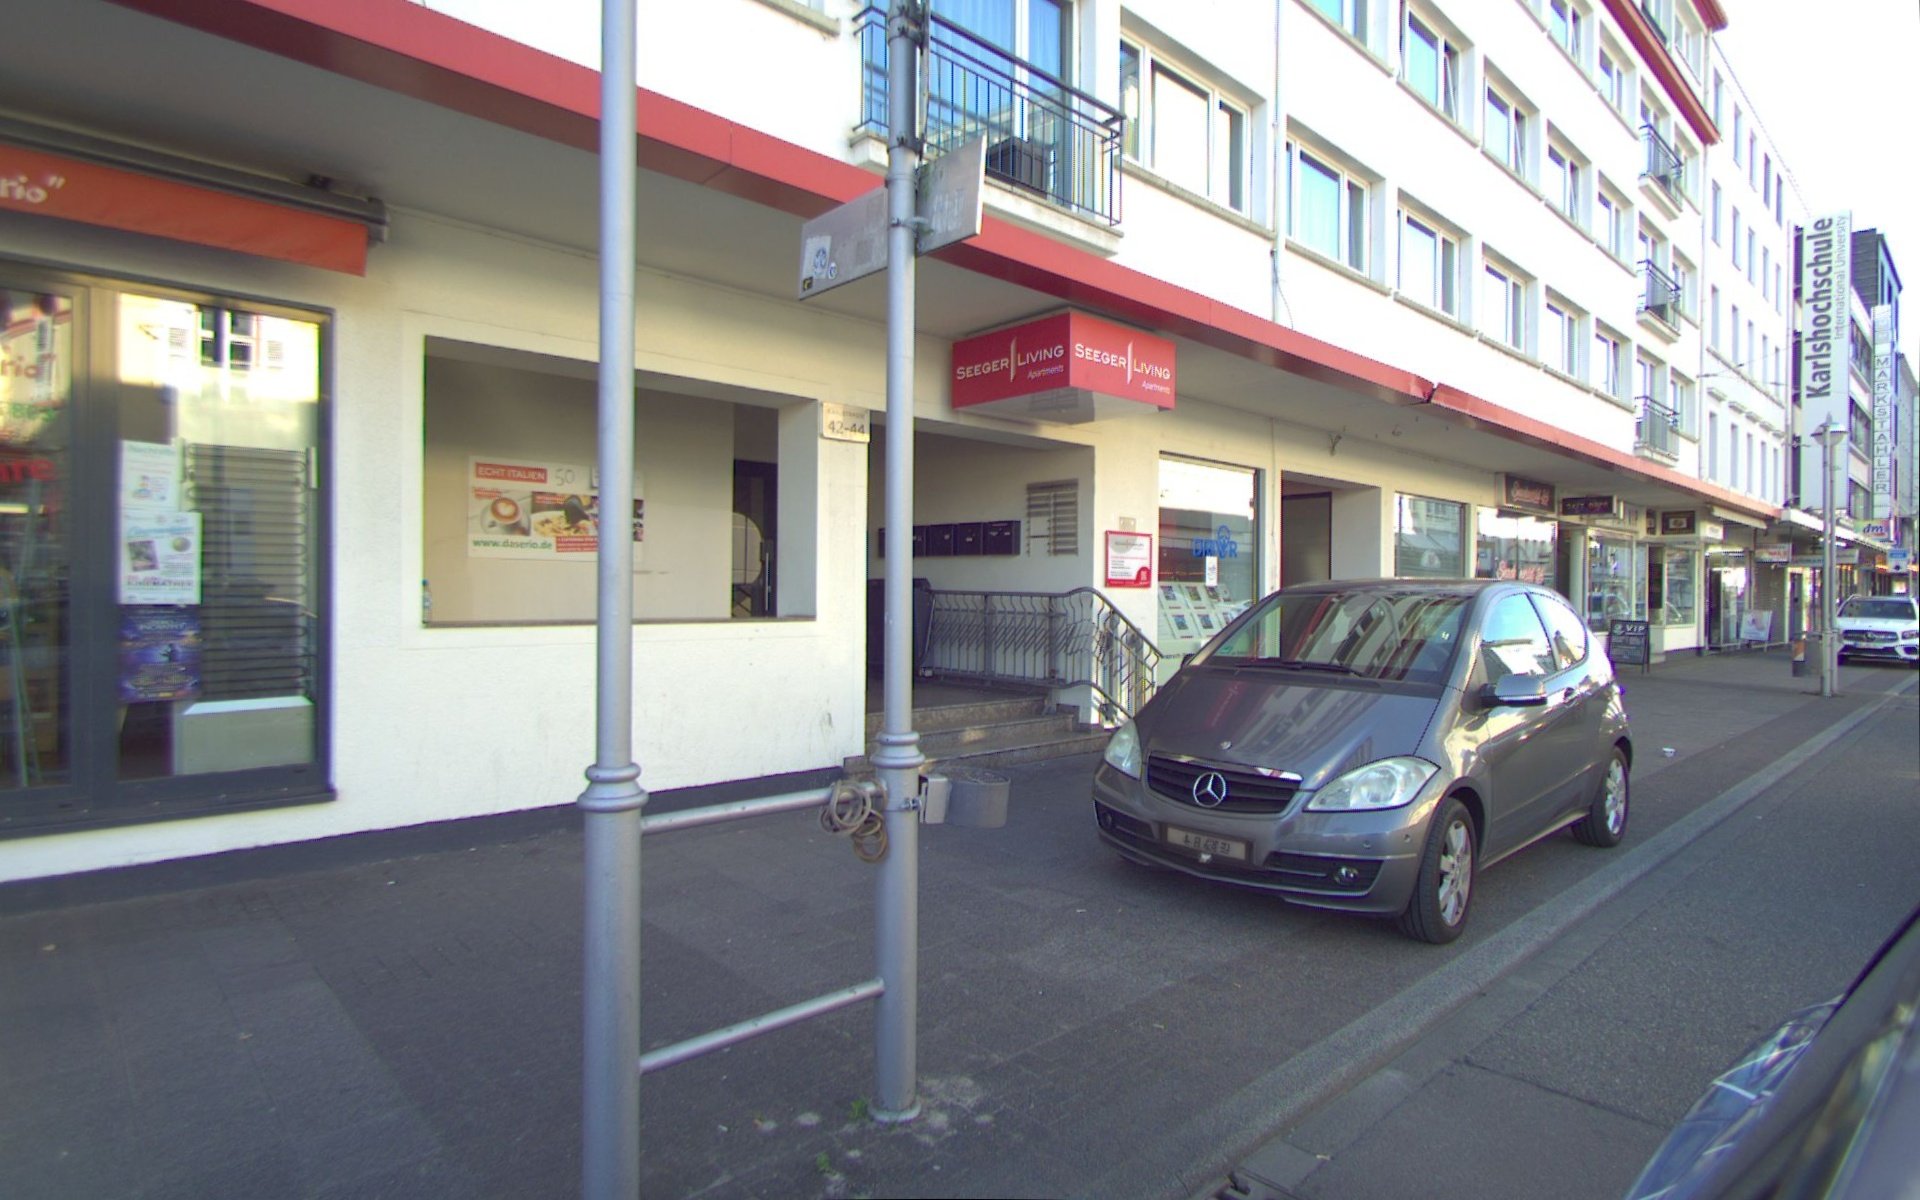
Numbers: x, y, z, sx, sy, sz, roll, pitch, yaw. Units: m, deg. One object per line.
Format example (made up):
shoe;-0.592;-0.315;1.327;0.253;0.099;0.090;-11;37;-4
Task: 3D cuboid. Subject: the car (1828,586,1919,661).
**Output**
car;22.381;0.521;24.342;1.994;1.650;3.935;1;1;45

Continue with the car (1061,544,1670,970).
car;2.497;0.578;5.686;3.932;1.565;1.681;0;0;-43
